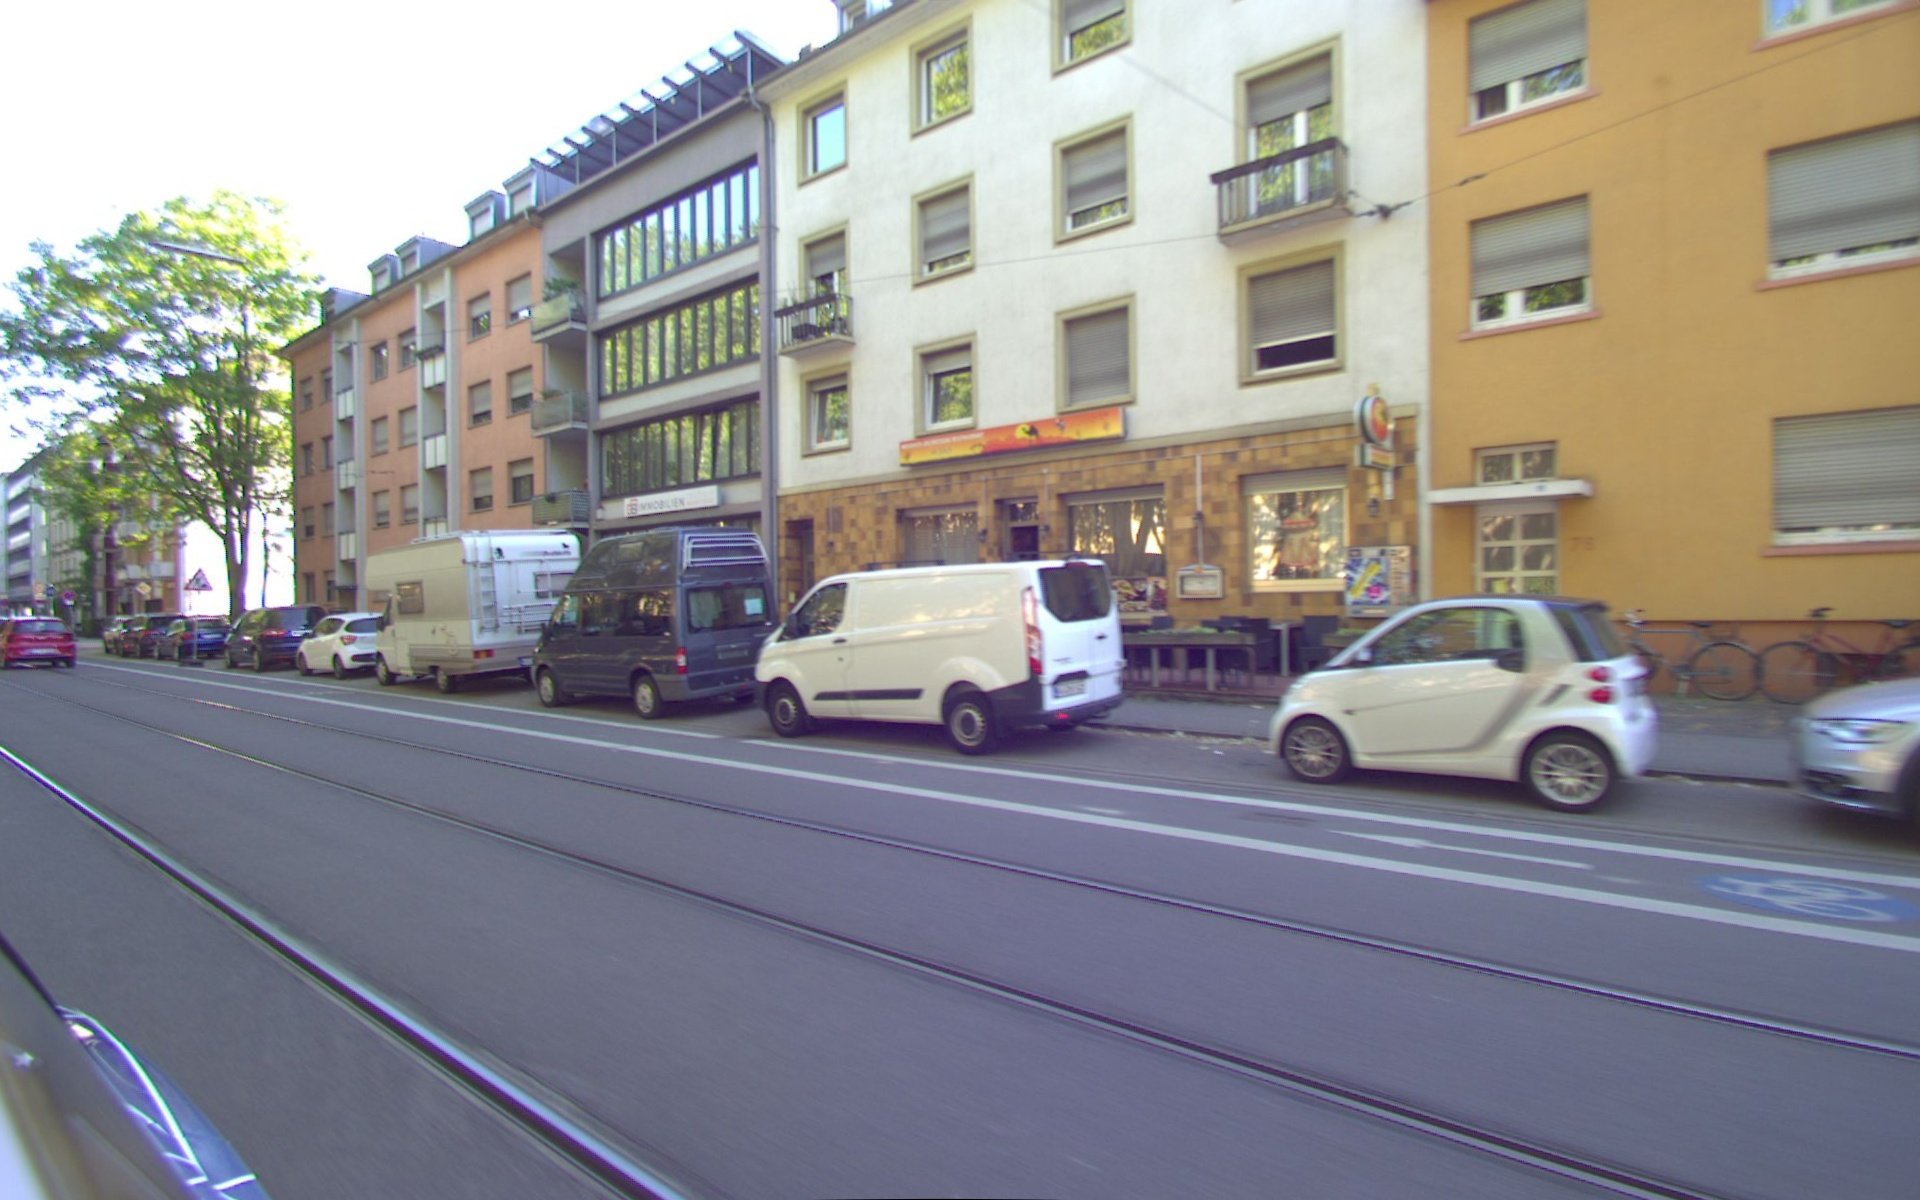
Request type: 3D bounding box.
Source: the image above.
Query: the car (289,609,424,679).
[{"bbox_3d":[-14.707,1.014,24.614,3.470,1.526,1.769,-1,0,40],"label":"car"}]

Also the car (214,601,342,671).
[{"bbox_3d":[-19.008,0.951,28.135,4.431,1.767,1.769,-1,0,40],"label":"car"}]

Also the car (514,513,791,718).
[{"bbox_3d":[-4.930,0.185,15.895,4.544,2.766,1.903,-1,3,41],"label":"car"}]

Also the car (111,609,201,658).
[{"bbox_3d":[-30.231,1.229,37.997,4.431,1.682,1.769,-1,0,40],"label":"car"}]

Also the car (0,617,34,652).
[{"bbox_3d":[-41.305,1.466,43.560,3.584,1.468,1.746,-1,-1,41],"label":"car"}]

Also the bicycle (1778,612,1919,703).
[{"bbox_3d":[9.826,0.605,10.834,1.646,0.935,0.358,-1,-1,41],"label":"bicycle"}]

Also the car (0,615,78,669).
[{"bbox_3d":[-27.158,1.180,29.492,3.584,1.468,1.746,-1,-1,41],"label":"car"}]

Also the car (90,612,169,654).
[{"bbox_3d":[-34.361,1.320,41.833,4.094,1.607,1.769,-1,0,40],"label":"car"}]

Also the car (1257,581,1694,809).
[{"bbox_3d":[4.138,0.640,8.274,2.881,1.503,1.554,-1,0,41],"label":"car"}]

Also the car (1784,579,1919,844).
[{"bbox_3d":[7.516,0.596,5.264,4.935,1.503,1.754,-1,0,38],"label":"car"}]

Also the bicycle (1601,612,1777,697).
[{"bbox_3d":[8.574,0.621,11.954,1.646,0.935,0.358,-1,-1,41],"label":"bicycle"}]

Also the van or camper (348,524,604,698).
[{"bbox_3d":[-9.910,0.169,20.455,5.989,2.999,2.392,-1,3,42],"label":"van or camper"}]

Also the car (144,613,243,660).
[{"bbox_3d":[-26.454,1.230,34.874,4.431,1.482,1.769,-1,0,40],"label":"car"}]

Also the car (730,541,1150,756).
[{"bbox_3d":[-0.413,0.480,12.013,4.937,2.062,1.903,-1,0,40],"label":"car"}]

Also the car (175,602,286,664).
[{"bbox_3d":[-22.899,1.001,31.713,4.431,1.767,1.769,-1,0,40],"label":"car"}]
